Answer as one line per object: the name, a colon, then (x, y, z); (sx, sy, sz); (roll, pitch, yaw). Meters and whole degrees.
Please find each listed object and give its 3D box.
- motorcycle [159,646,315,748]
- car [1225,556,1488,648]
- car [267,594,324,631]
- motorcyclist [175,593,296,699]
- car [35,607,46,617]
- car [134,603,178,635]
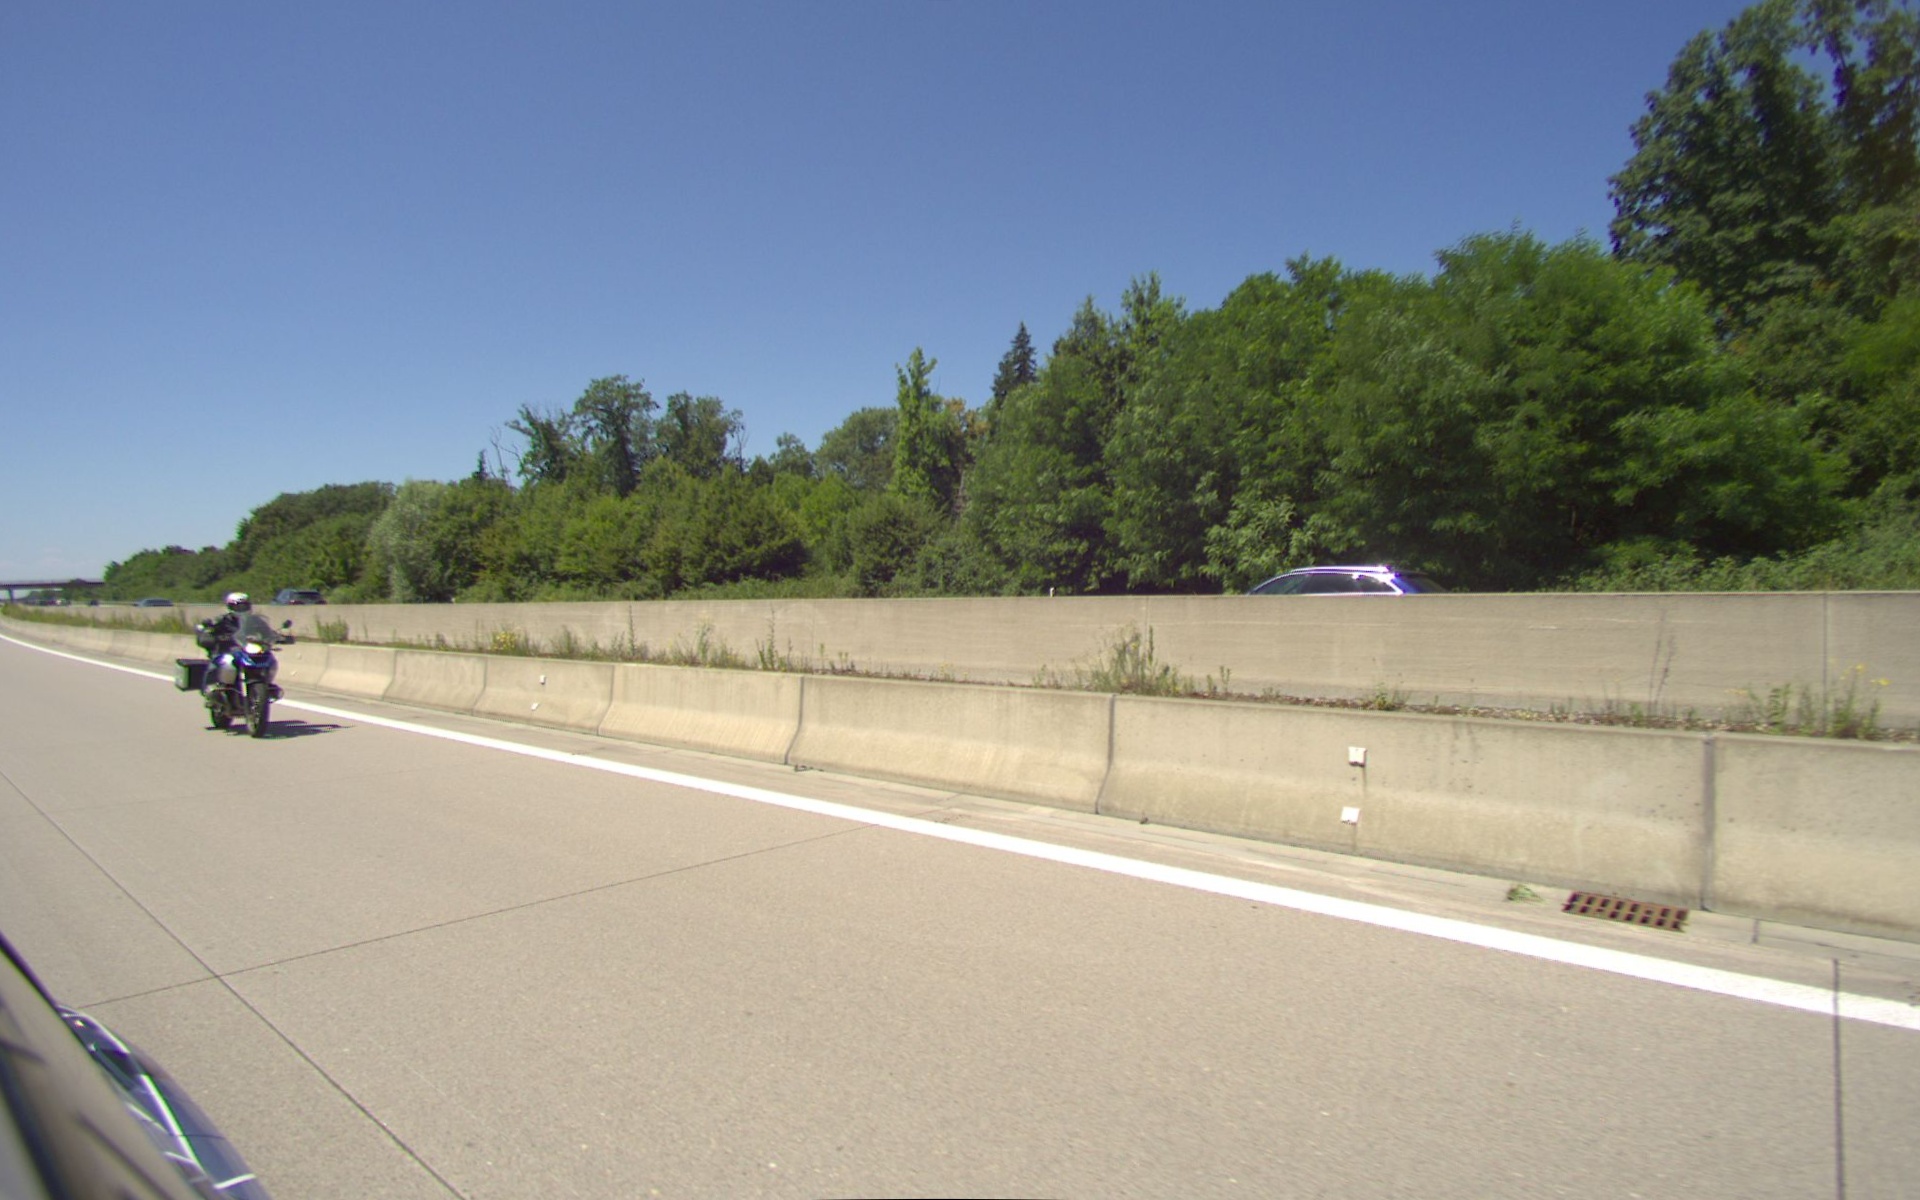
motorcycle: (-8.824, 1.120, 12.304); (2.411, 1.056, 1.010); (-1, -1, 41)
car: (6.374, 0.036, 16.460); (3.640, 1.336, 1.596); (-1, 1, 41)
car: (-36.331, 0.681, 55.312); (4.138, 1.936, 1.641); (-1, 0, 43)
motorcyclist: (-8.783, 0.540, 12.271); (0.911, 1.218, 1.014); (-2, -1, 41)
car: (-181.227, 2.338, 199.464); (1.416, 2.029, 4.789); (-1, 0, -45)
car: (-52.037, 1.224, 65.480); (4.006, 1.936, 1.641); (-1, 0, 43)
